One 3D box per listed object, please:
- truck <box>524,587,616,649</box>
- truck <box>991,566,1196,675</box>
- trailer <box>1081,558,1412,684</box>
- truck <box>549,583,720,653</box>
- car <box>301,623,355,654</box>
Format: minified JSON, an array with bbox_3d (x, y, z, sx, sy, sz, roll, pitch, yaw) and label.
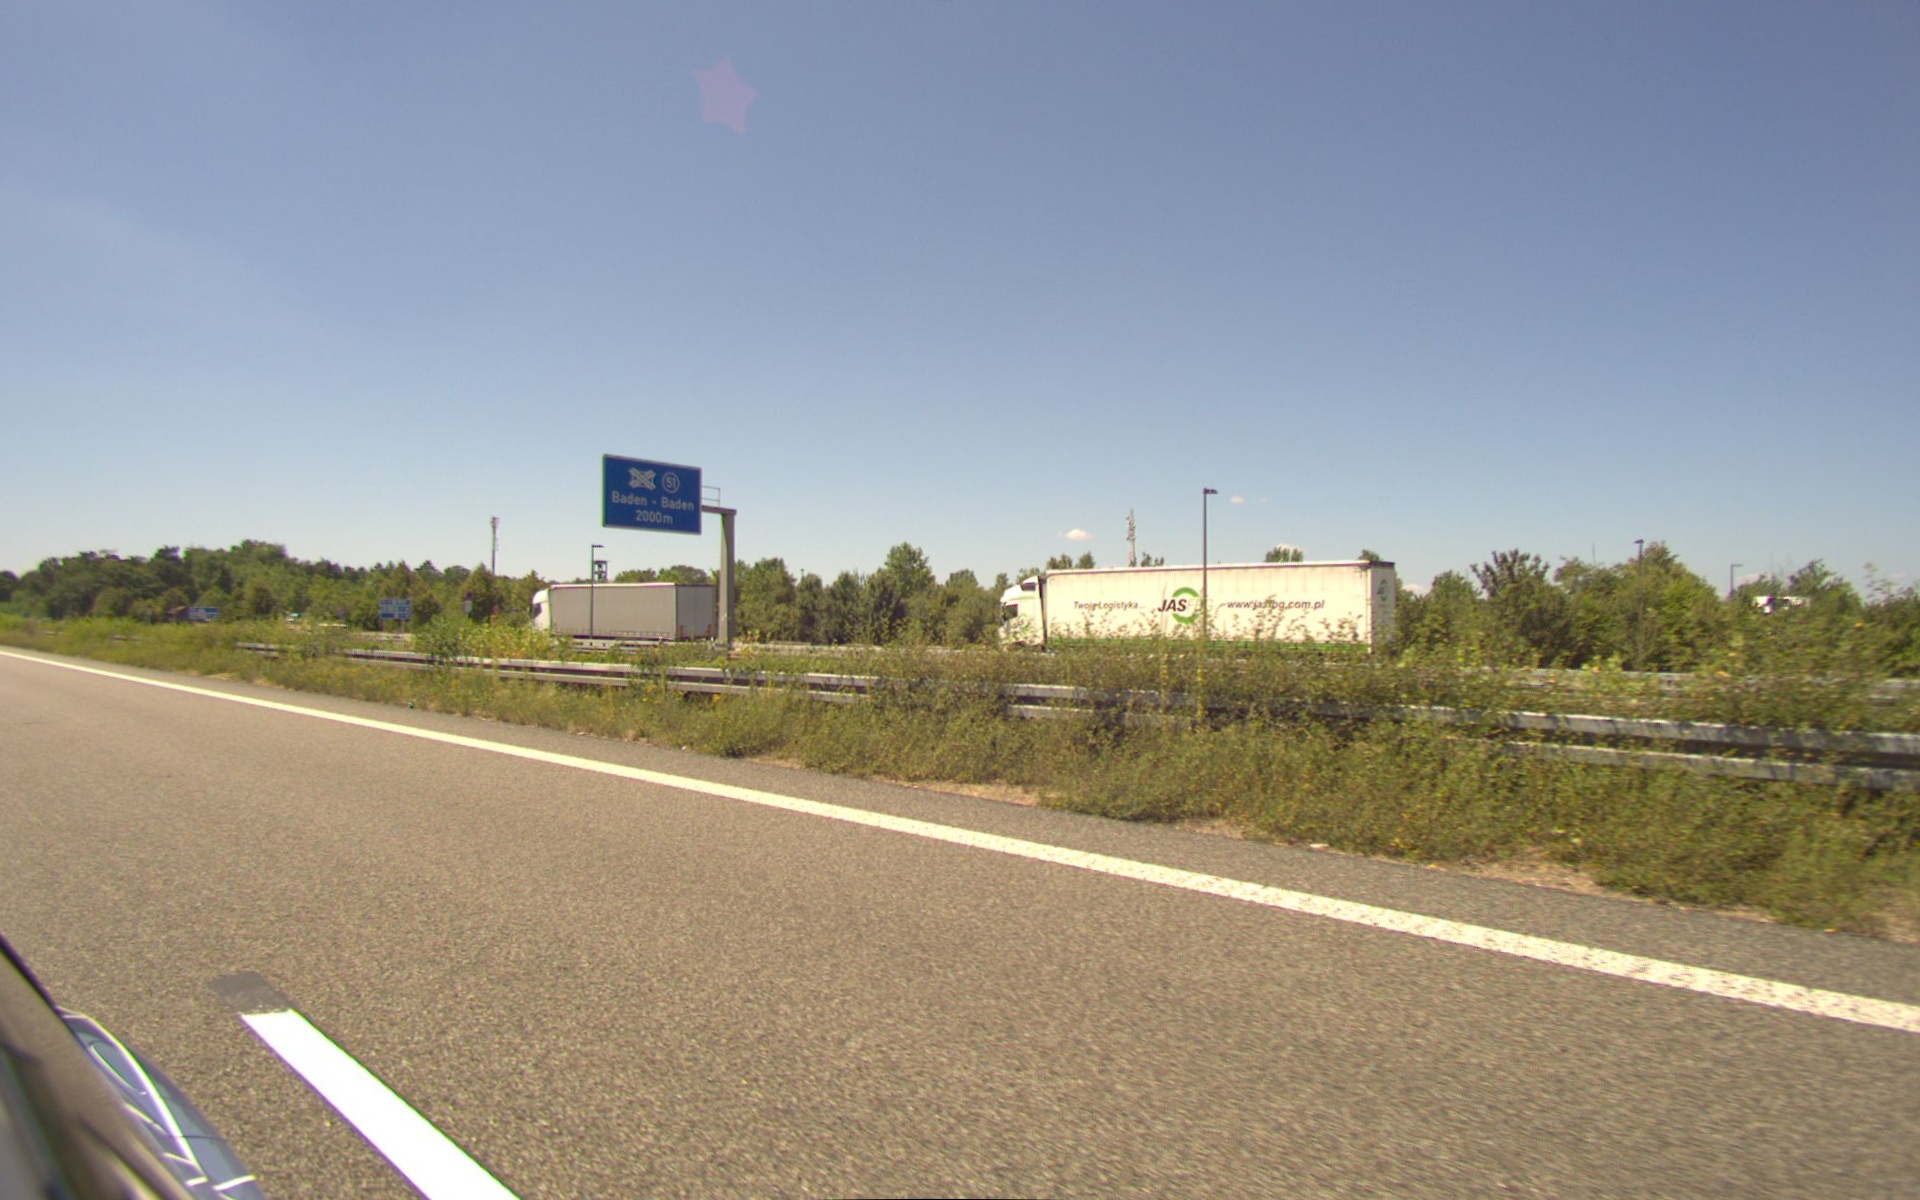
[{"bbox_3d":[-24.211,1.100,62.783,6.144,3.671,2.770,-1,0,41],"label":"truck"},{"bbox_3d":[5.527,0.820,43.040,8.312,4.183,3.063,-1,0,41],"label":"truck"},{"bbox_3d":[10.485,0.739,38.636,12.005,4.187,3.062,-1,0,41],"label":"trailer"},{"bbox_3d":[-19.003,1.002,58.153,13.600,3.671,2.770,-1,0,42],"label":"truck"},{"bbox_3d":[-38.792,2.349,62.083,4.406,1.760,1.633,-1,0,41],"label":"car"}]
